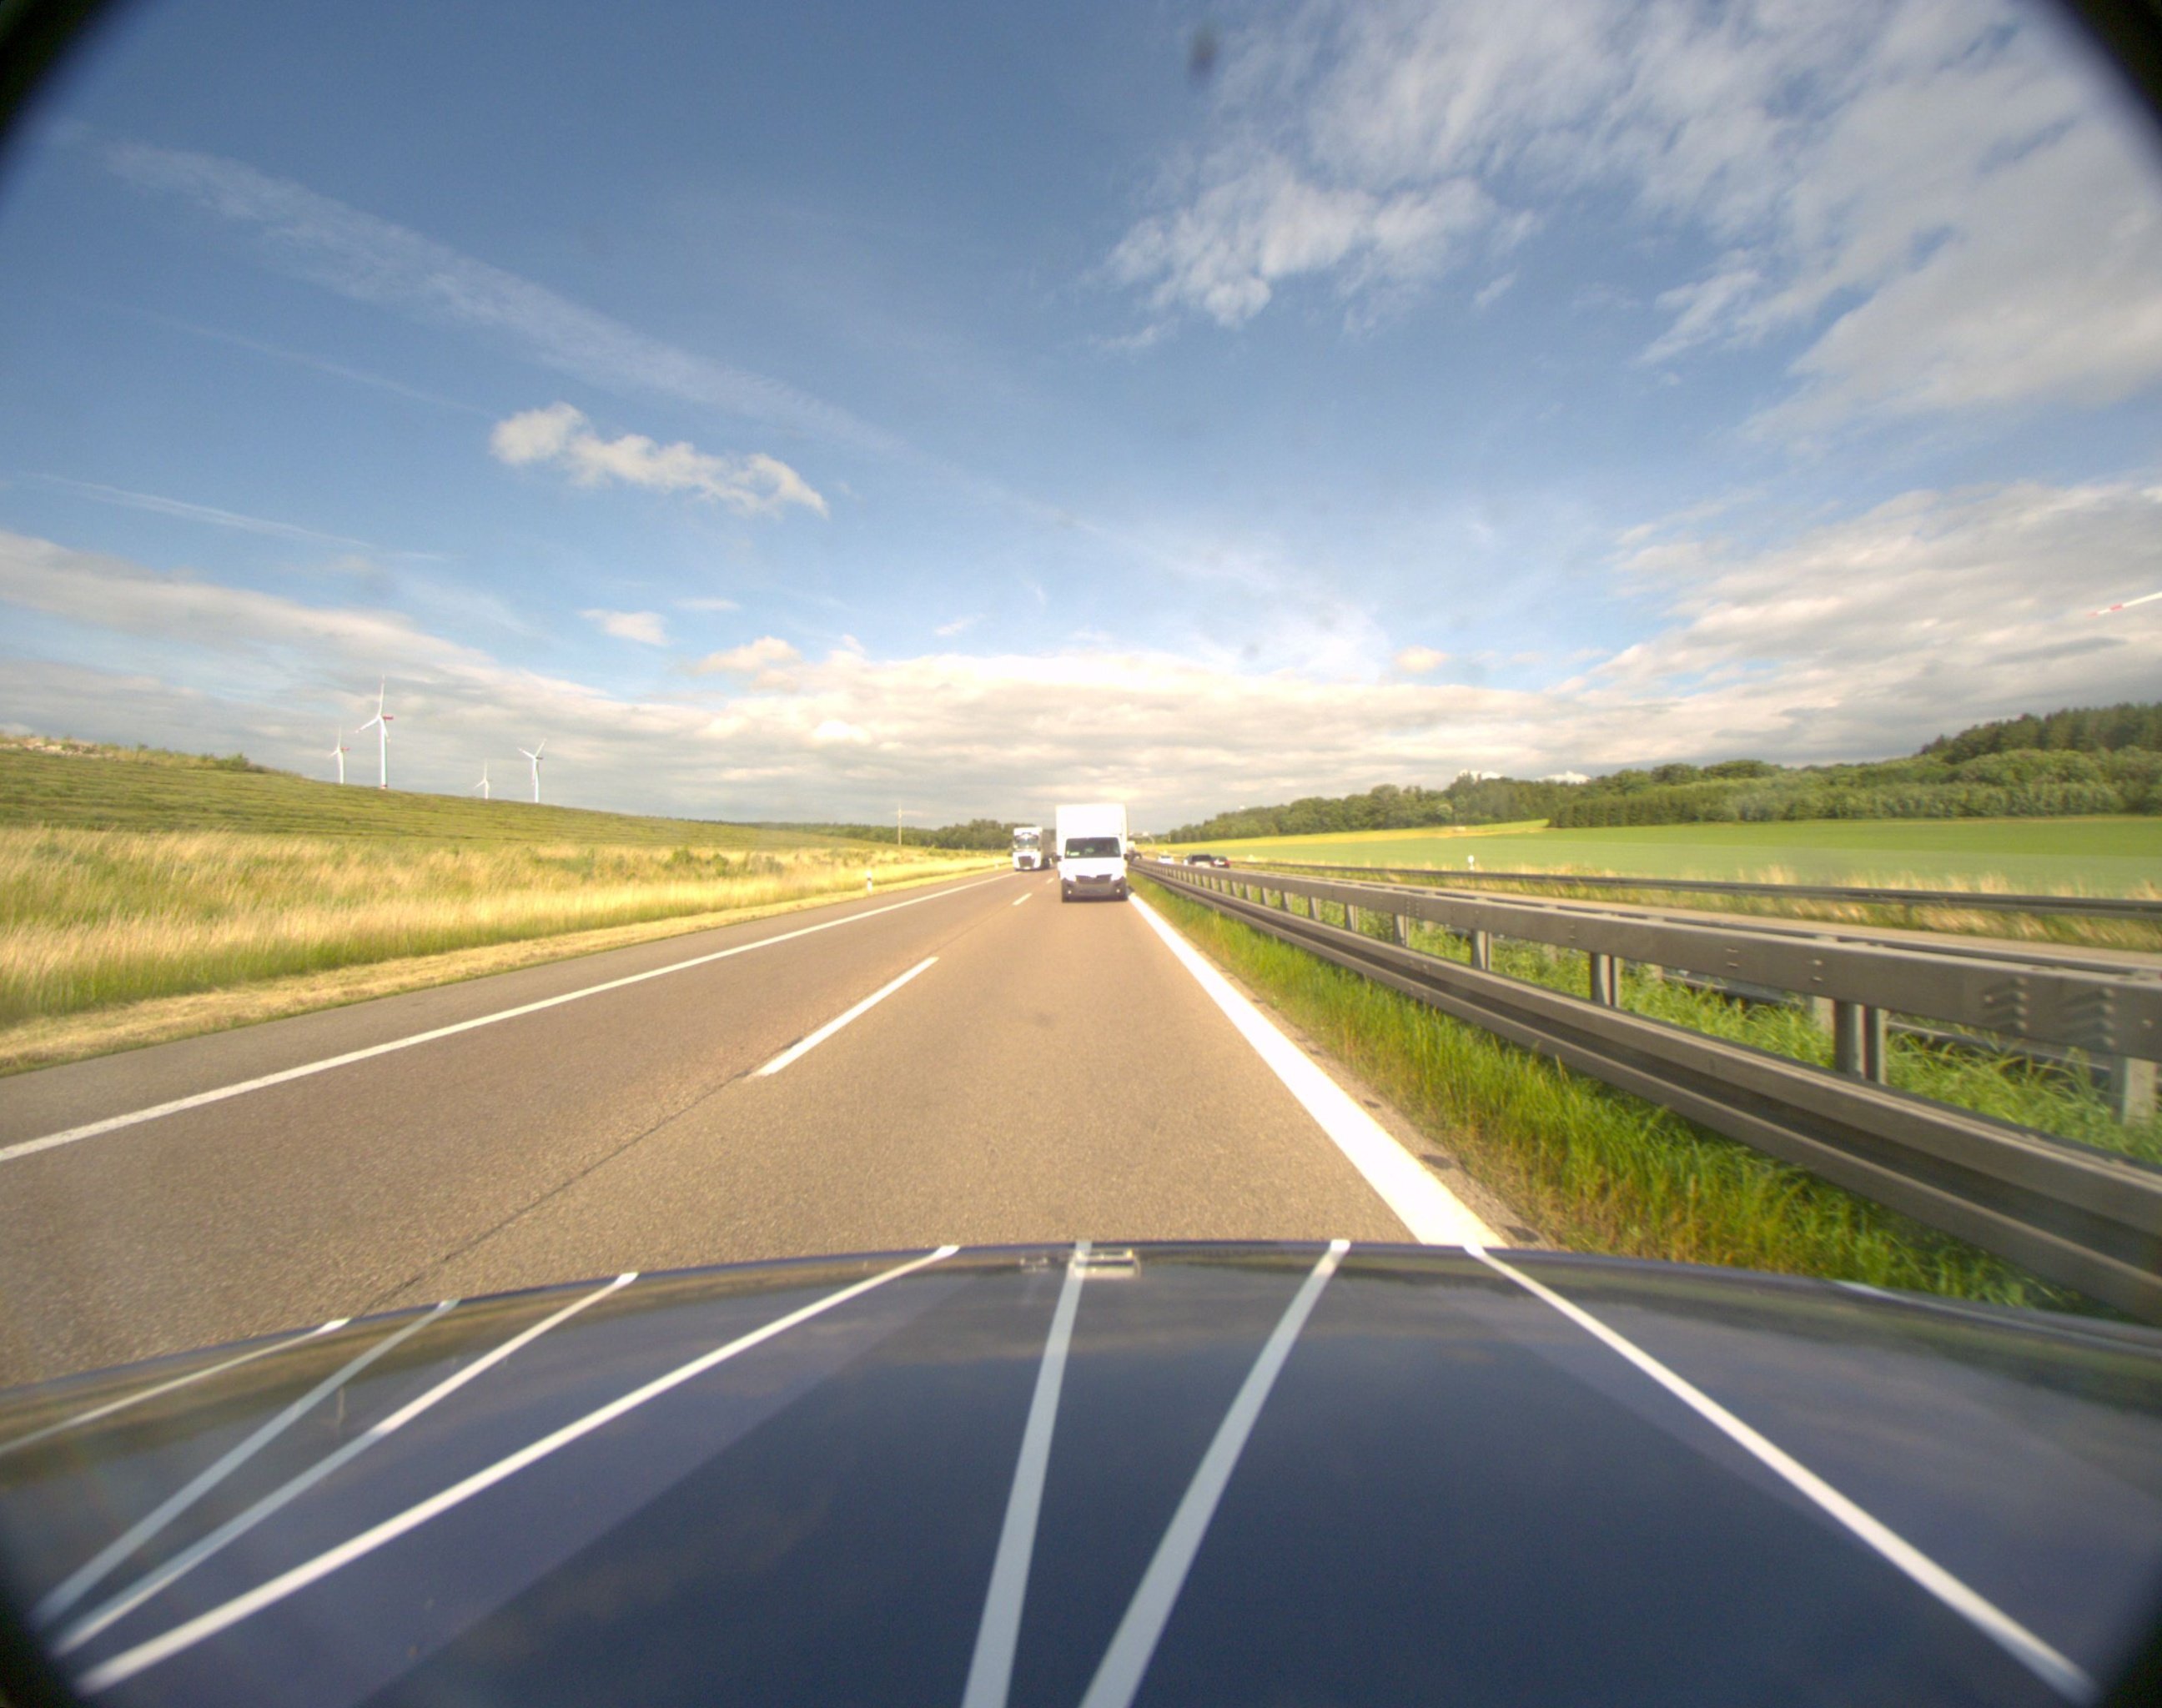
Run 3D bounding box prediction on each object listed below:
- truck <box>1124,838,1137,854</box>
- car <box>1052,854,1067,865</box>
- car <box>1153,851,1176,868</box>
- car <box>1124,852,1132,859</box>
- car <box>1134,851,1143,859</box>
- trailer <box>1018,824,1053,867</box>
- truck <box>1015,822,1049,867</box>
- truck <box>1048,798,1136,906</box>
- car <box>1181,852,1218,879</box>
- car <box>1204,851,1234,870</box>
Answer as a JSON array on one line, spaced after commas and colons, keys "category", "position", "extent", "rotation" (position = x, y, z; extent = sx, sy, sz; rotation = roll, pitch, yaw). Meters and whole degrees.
[{"category": "truck", "position": [14.809, -2.335, 227.777], "extent": [2.887, 4.608, 13.421], "rotation": [-2, 1, 1]}, {"category": "car", "position": [-3.082, 0.832, 108.704], "extent": [1.871, 1.409, 4.461], "rotation": [-2, 1, 1]}, {"category": "car", "position": [8.149, 0.550, 74.825], "extent": [1.754, 1.512, 4.479], "rotation": [-2, 1, 0]}, {"category": "car", "position": [10.471, 0.291, 169.427], "extent": [1.619, 1.384, 3.999], "rotation": [-2, 1, 0]}, {"category": "car", "position": [11.757, 0.235, 155.035], "extent": [1.619, 1.512, 3.999], "rotation": [-2, 1, 0]}, {"category": "trailer", "position": [-4.542, -0.799, 79.155], "extent": [2.623, 4.017, 13.698], "rotation": [-3, 0, 0]}, {"category": "truck", "position": [-4.530, -0.847, 71.229], "extent": [2.607, 4.017, 6.119], "rotation": [-1, 0, 0]}, {"category": "truck", "position": [0.340, -0.052, 28.223], "extent": [2.502, 3.141, 11.162], "rotation": [-2, 0, 0]}, {"category": "car", "position": [7.702, 0.688, 49.669], "extent": [1.754, 1.594, 4.265], "rotation": [-2, 1, 0]}, {"category": "car", "position": [11.811, 0.544, 65.195], "extent": [1.754, 1.471, 4.479], "rotation": [-2, 1, 0]}]
